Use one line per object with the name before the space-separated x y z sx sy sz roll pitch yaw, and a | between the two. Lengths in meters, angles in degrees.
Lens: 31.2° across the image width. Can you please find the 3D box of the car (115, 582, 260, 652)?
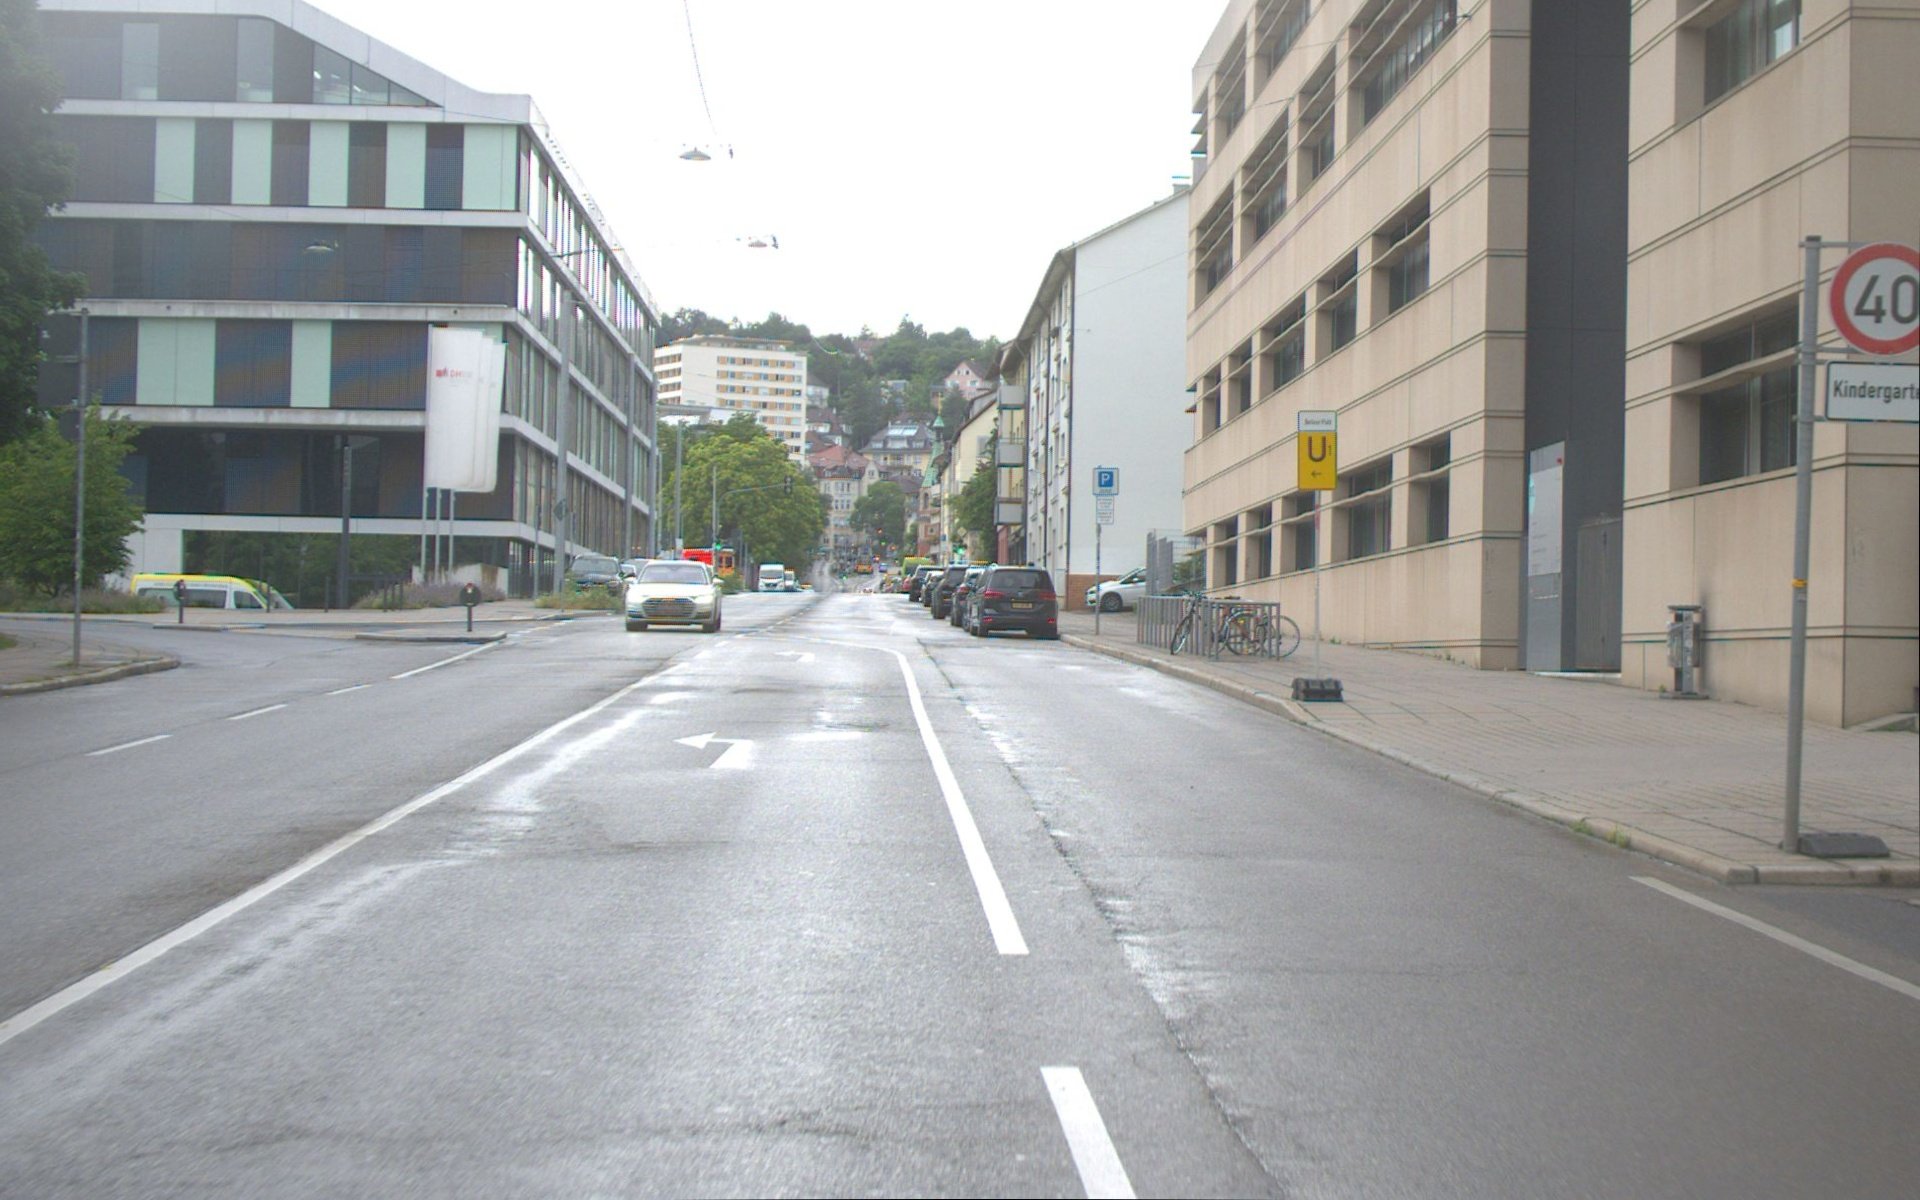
car | -26.506 0.595 118.120 4.589 2.167 1.931 3 -1 -7

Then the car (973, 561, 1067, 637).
car | 1.335 -0.014 78.326 1.771 1.598 4.395 3 -1 -3

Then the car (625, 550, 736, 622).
car | -6.013 -0.302 74.411 1.881 1.486 5.219 0 0 1

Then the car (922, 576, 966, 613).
car | -0.686 -0.205 145.426 1.706 1.449 3.985 3 -1 -2

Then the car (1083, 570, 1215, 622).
car | 6.575 -0.133 119.864 4.437 1.707 1.905 -1 -1 -2

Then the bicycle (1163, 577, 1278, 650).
bicycle | 4.203 0.222 55.564 1.729 1.115 0.660 2 -1 -7

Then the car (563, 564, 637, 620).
car | -11.098 -0.231 106.115 1.849 1.612 4.491 3 -1 -1

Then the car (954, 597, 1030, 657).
car | 0.852 0.747 94.328 1.743 1.528 4.320 3 -1 -3

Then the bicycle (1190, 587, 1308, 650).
bicycle | 4.581 0.291 54.592 1.758 0.950 0.660 2 -1 -4

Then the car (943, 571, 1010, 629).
car | 0.514 0.032 110.924 1.935 1.744 4.797 3 -1 -2
